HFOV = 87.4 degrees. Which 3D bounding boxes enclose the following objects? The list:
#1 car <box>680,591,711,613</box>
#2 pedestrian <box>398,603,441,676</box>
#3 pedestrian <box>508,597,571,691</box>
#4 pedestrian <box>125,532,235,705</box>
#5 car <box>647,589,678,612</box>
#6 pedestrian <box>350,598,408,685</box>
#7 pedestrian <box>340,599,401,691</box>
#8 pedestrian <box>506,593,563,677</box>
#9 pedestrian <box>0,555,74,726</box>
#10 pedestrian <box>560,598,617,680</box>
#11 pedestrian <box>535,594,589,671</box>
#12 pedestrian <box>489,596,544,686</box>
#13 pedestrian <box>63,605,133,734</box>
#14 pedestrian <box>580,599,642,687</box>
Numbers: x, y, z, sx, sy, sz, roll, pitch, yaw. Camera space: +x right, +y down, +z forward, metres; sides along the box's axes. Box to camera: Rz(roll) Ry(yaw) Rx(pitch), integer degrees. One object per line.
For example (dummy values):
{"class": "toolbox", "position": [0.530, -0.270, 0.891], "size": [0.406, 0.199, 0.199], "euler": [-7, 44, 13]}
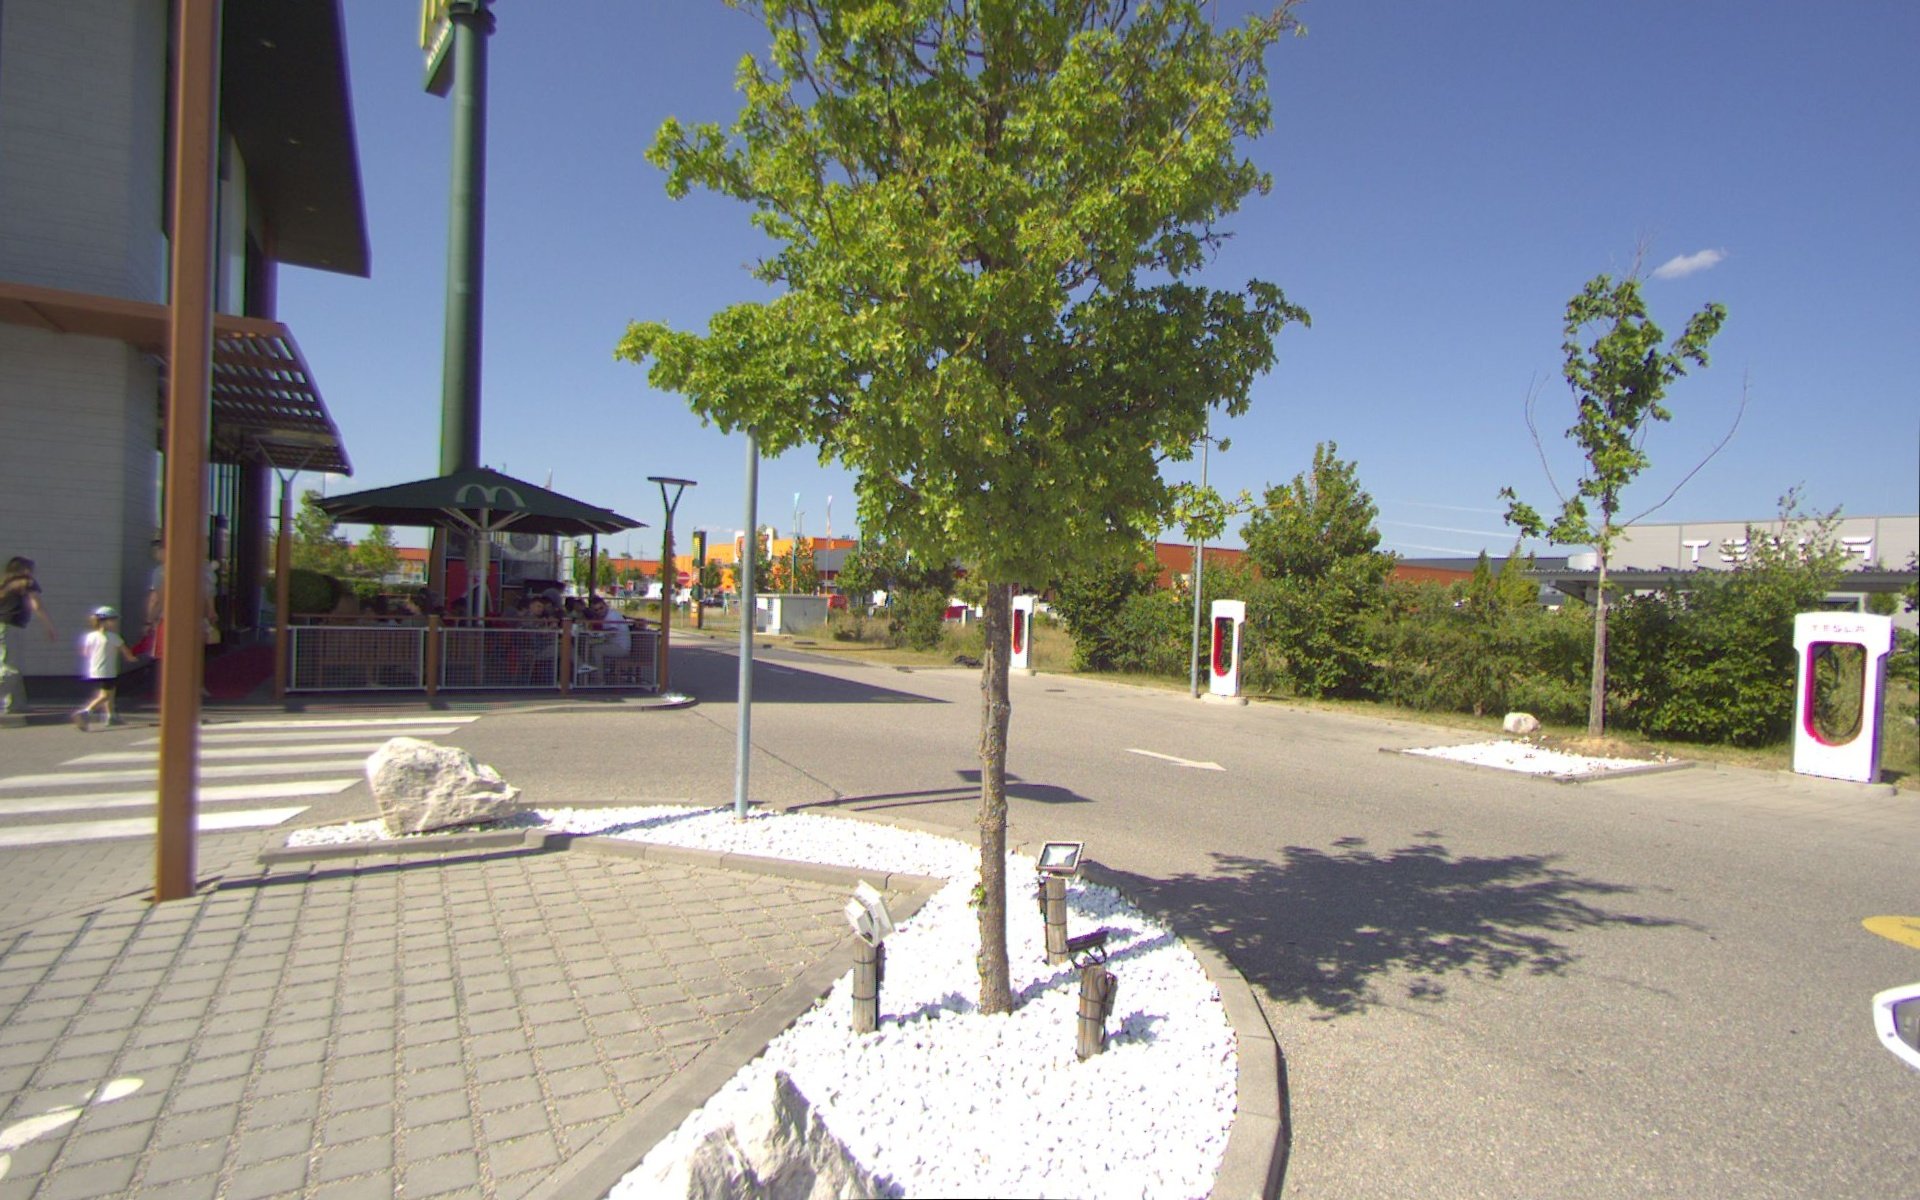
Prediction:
{"class": "car", "position": [-26.068, 0.185, 98.898], "size": [1.976, 2.040, 3.969], "euler": [3, -1, -29]}
{"class": "pedestrian", "position": [-8.602, 0.618, 15.978], "size": [0.567, 1.115, 0.651], "euler": [2, 0, -31]}
{"class": "pedestrian", "position": [-5.917, 0.611, 14.127], "size": [0.708, 1.274, 0.519], "euler": [2, 0, -34]}
{"class": "pedestrian", "position": [-8.533, 0.201, 11.010], "size": [0.889, 1.791, 0.794], "euler": [2, 0, -38]}
{"class": "car", "position": [-28.750, 0.039, 96.872], "size": [1.976, 2.040, 3.969], "euler": [3, -1, -29]}
{"class": "pedestrian", "position": [-7.888, 0.558, 13.627], "size": [0.628, 1.139, 0.519], "euler": [2, 0, -34]}
{"class": "pedestrian", "position": [-7.577, 0.566, 12.916], "size": [0.628, 1.139, 0.519], "euler": [2, 0, -34]}
{"class": "pedestrian", "position": [-6.661, 0.542, 15.729], "size": [0.708, 1.274, 0.519], "euler": [2, 0, -34]}
{"class": "pedestrian", "position": [-9.264, 0.376, 9.757], "size": [0.730, 1.605, 0.725], "euler": [2, 0, -20]}
{"class": "pedestrian", "position": [-5.985, 0.619, 16.197], "size": [0.722, 1.274, 0.568], "euler": [2, 0, -35]}
{"class": "pedestrian", "position": [-6.755, 0.544, 17.047], "size": [0.722, 1.274, 0.568], "euler": [2, 0, -35]}
{"class": "pedestrian", "position": [-6.453, 0.583, 14.601], "size": [0.628, 1.274, 0.519], "euler": [2, 0, -34]}
{"class": "pedestrian", "position": [-8.325, 0.656, 9.710], "size": [0.444, 1.202, 0.486], "euler": [2, 0, -35]}
{"class": "pedestrian", "position": [-5.206, 0.634, 14.995], "size": [0.722, 1.274, 0.568], "euler": [2, 0, -35]}
